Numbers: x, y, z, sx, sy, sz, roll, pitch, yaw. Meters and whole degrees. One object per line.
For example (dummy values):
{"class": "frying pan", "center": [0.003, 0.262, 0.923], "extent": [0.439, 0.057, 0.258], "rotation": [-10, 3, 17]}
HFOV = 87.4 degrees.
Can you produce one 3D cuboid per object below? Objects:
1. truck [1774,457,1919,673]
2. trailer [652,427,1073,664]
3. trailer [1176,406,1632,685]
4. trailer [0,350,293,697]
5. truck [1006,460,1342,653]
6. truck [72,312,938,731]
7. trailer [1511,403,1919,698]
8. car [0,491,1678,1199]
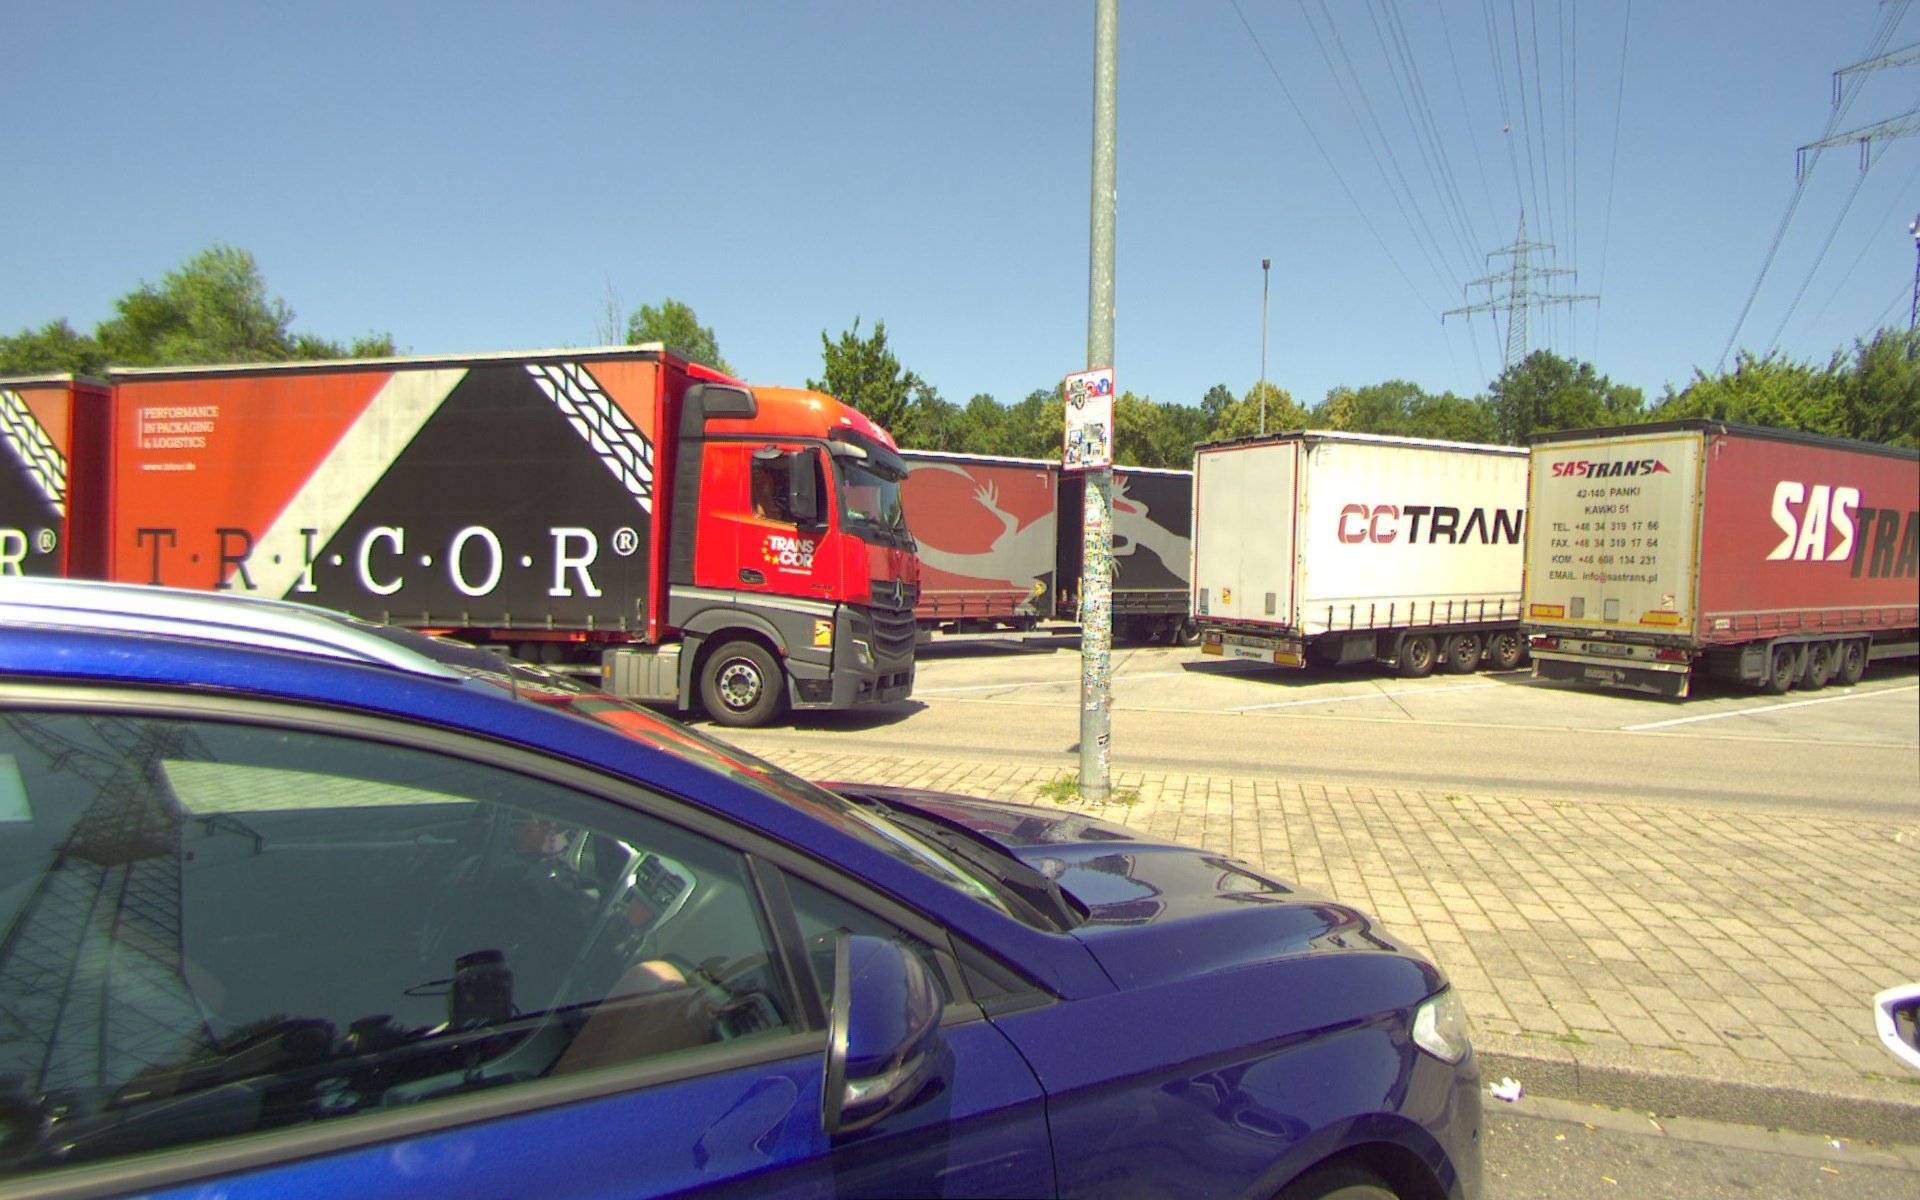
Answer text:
{"class": "truck", "center": [20.822, -0.676, 21.780], "extent": [6.749, 4.136, 2.729], "rotation": [0, 1, -31]}
{"class": "trailer", "center": [-1.787, -0.920, 20.317], "extent": [8.158, 4.027, 2.651], "rotation": [0, 1, -31]}
{"class": "trailer", "center": [8.715, -0.832, 19.115], "extent": [9.614, 4.321, 2.733], "rotation": [0, 1, -29]}
{"class": "trailer", "center": [-14.605, -1.002, 15.023], "extent": [8.510, 4.315, 2.844], "rotation": [1, 0, 16]}
{"class": "truck", "center": [5.405, -0.913, 24.590], "extent": [8.534, 4.073, 2.624], "rotation": [0, 1, -30]}
{"class": "truck", "center": [-5.661, -0.834, 12.559], "extent": [10.390, 4.183, 2.695], "rotation": [1, 0, 14]}
{"class": "trailer", "center": [15.341, -0.672, 18.538], "extent": [13.129, 4.112, 2.736], "rotation": [0, 1, -31]}
{"class": "car", "center": [-1.005, 0.655, 1.472], "extent": [4.419, 1.485, 1.765], "rotation": [0, 1, -32]}
